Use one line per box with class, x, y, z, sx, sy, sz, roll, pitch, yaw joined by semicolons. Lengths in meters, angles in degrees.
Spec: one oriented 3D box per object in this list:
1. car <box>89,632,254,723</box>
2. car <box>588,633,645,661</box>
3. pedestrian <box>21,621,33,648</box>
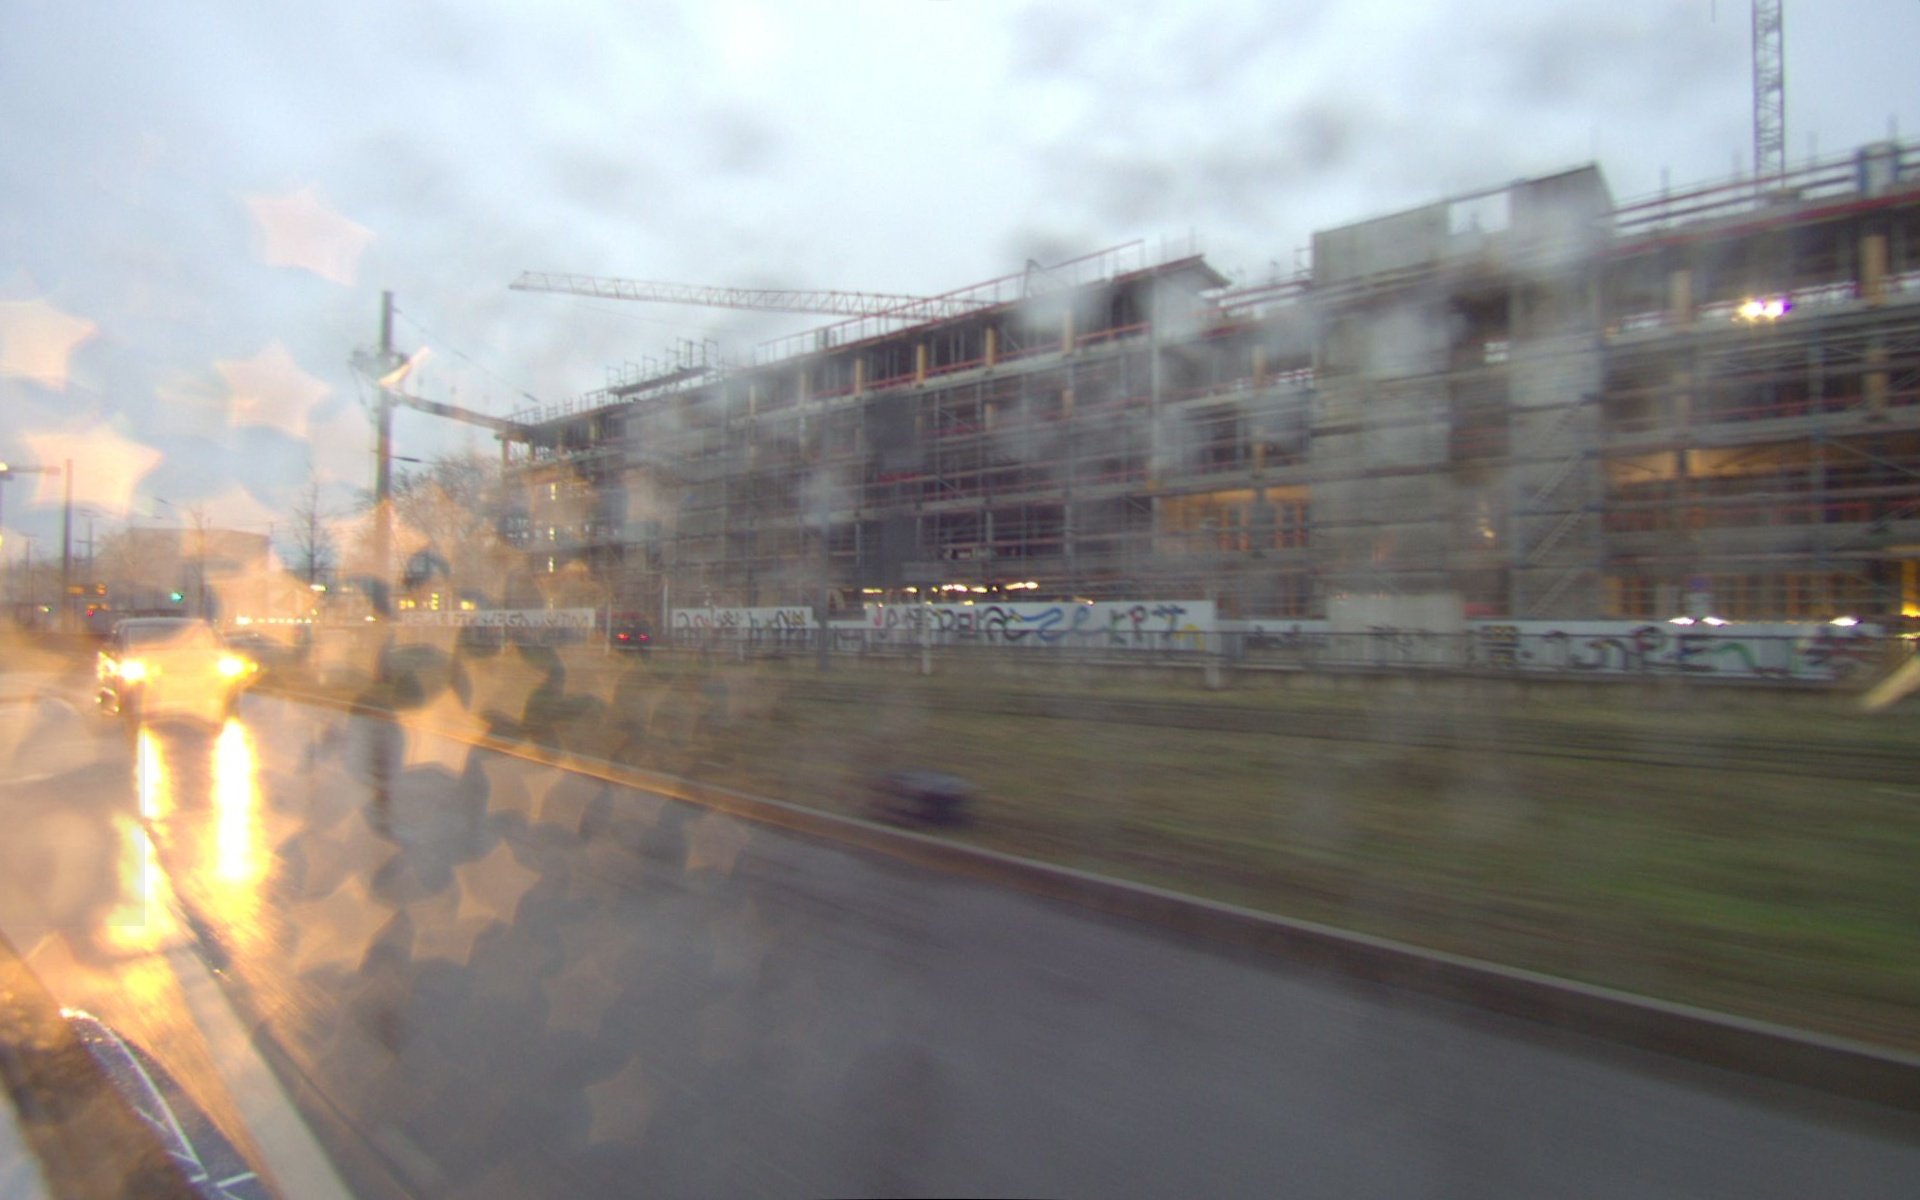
car;-14.367;1.317;18.369;4.005;1.464;1.784;-2;-3;44
car;-21.558;2.926;63.483;3.762;1.675;1.736;-2;-3;41
pedestrian;-61.391;2.257;66.591;0.576;1.714;0.741;0;-1;-40
